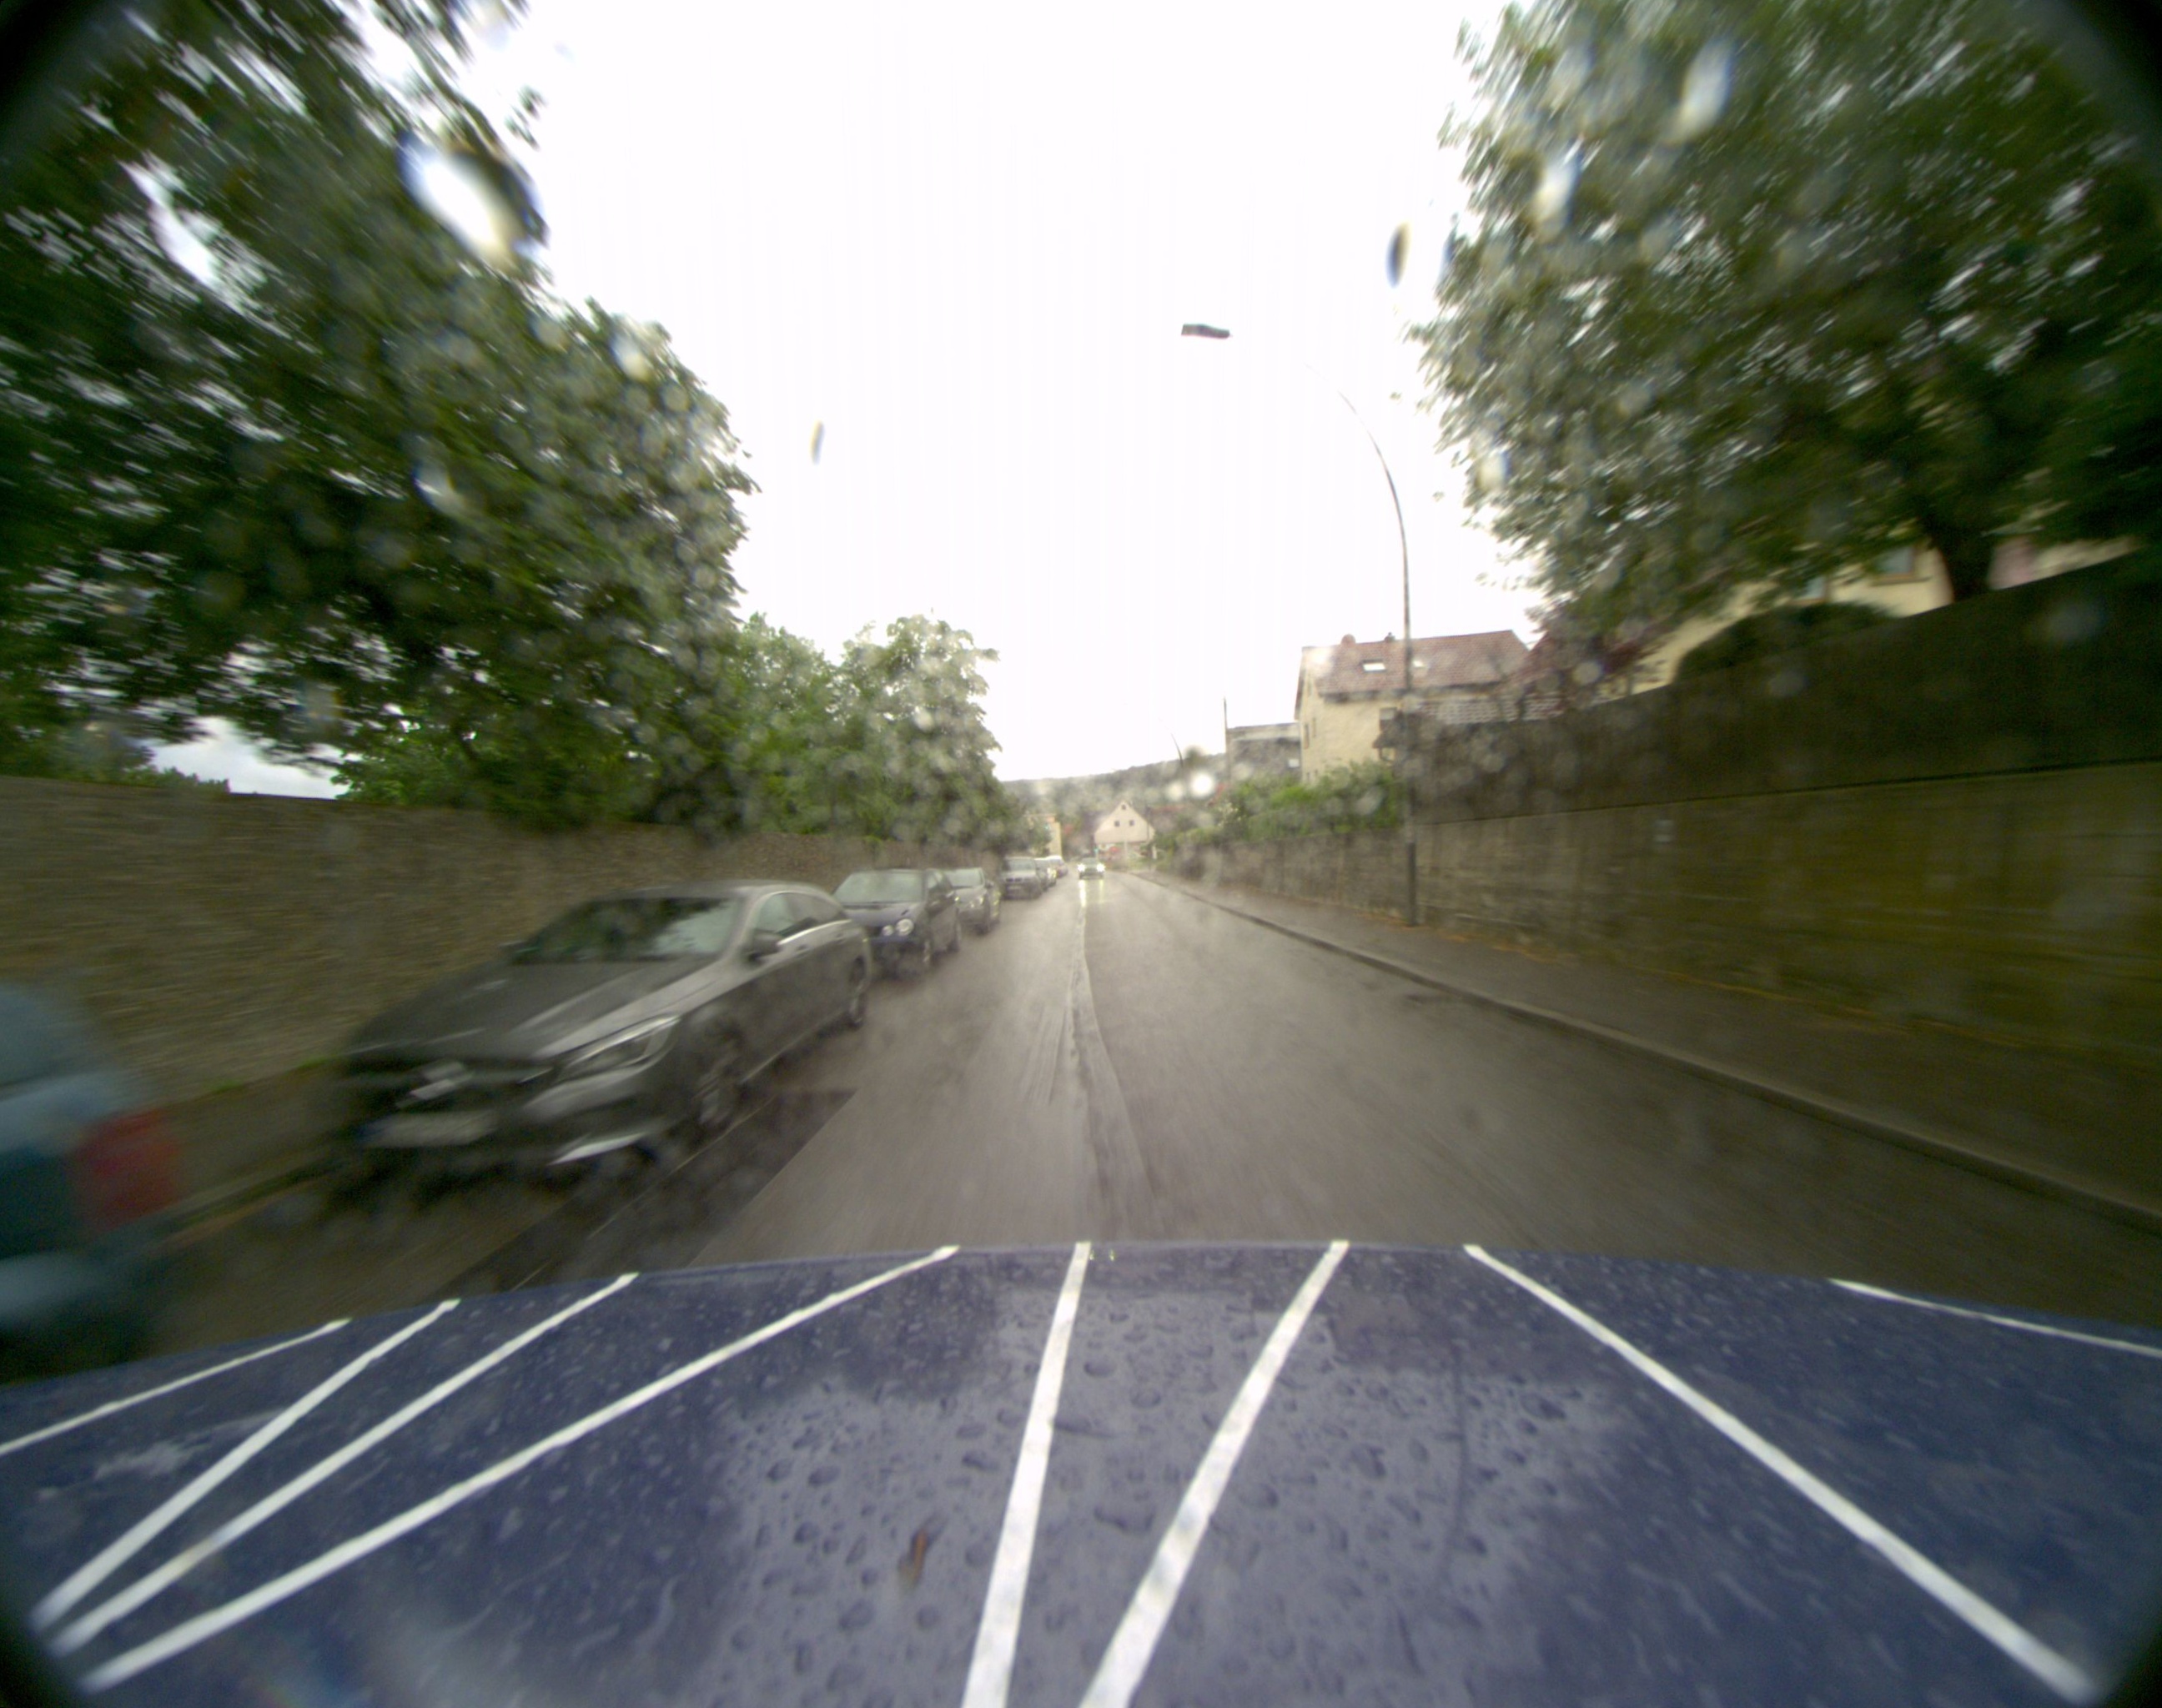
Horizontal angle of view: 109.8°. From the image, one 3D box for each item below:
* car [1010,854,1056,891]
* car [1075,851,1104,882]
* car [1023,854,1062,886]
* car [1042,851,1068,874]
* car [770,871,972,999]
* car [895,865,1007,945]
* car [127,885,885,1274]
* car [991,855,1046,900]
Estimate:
[{"bbox_3d":[-2.272,0.856,36.964,1.833,1.620,4.154,-2,0,2],"label":"car"},{"bbox_3d":[0.593,0.874,56.547,1.998,2.002,3.999,-3,2,0],"label":"car"},{"bbox_3d":[-2.162,0.873,43.382,1.833,1.620,4.154,-2,0,2],"label":"car"},{"bbox_3d":[-2.165,0.703,64.966,1.949,1.783,4.186,-2,1,1],"label":"car"},{"bbox_3d":[-2.853,1.032,11.333,1.764,1.411,4.153,-2,0,1],"label":"car"},{"bbox_3d":[-2.698,1.007,16.671,1.764,1.411,4.153,-2,0,-1],"label":"car"},{"bbox_3d":[-3.029,1.057,5.484,1.998,1.410,4.484,-2,0,0],"label":"car"},{"bbox_3d":[-2.433,0.878,30.603,1.833,1.620,4.153,-2,0,0],"label":"car"}]
